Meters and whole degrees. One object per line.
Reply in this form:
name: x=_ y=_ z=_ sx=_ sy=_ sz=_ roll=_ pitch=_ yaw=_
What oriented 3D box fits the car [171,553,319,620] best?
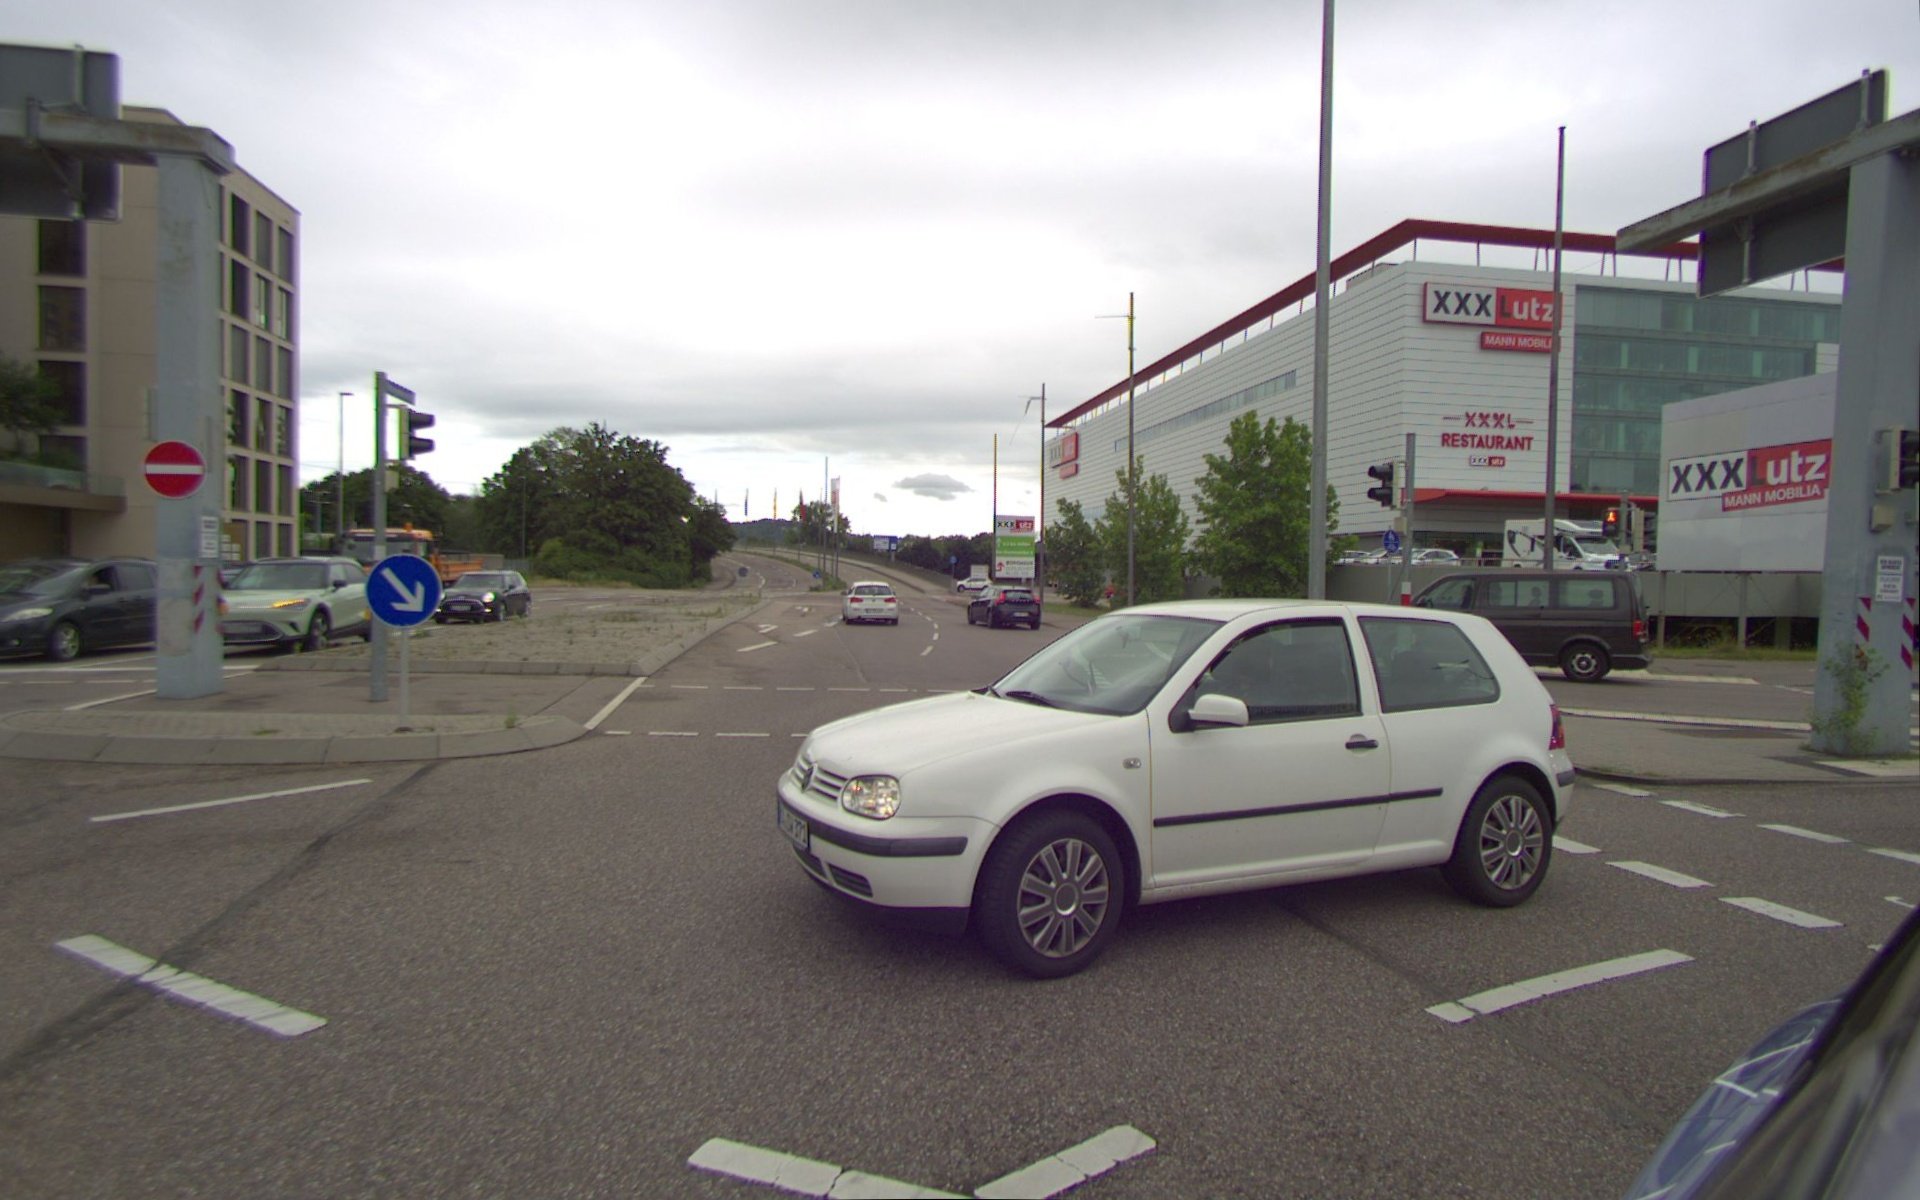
car: x=-20.424 y=-0.371 z=29.127 sx=1.958 sy=1.791 sz=4.157 roll=0 pitch=0 yaw=-11

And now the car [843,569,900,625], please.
car: x=-3.039 y=-0.167 z=34.803 sx=1.798 sy=1.426 sz=4.207 roll=2 pitch=6 yaw=-5

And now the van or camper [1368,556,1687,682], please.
van or camper: x=10.426 y=0.251 z=18.831 sx=4.910 sy=2.039 sz=2.137 roll=2 pitch=1 yaw=35

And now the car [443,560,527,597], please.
car: x=-22.738 y=-1.008 z=48.624 sx=1.963 sy=1.678 sz=4.359 roll=0 pitch=0 yaw=1

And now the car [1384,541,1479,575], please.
car: x=24.635 y=-2.173 z=52.939 sx=4.173 sy=1.697 sz=1.779 roll=0 pitch=0 yaw=-7

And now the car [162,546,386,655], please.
car: x=-11.700 y=-0.002 z=17.606 sx=1.865 sy=1.664 sz=4.076 roll=0 pitch=0 yaw=-13

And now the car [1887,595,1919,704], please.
car: x=14.865 y=0.714 z=12.463 sx=4.800 sy=1.429 sz=1.812 roll=2 pitch=0 yaw=11

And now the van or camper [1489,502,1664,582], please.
van or camper: x=27.153 y=-2.440 z=45.049 sx=2.659 sy=3.175 sz=7.246 roll=0 pitch=0 yaw=-8

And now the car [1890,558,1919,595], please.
car: x=46.798 y=-1.126 z=47.676 sx=1.959 sy=1.761 sz=4.007 roll=0 pitch=0 yaw=-10

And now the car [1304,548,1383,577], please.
car: x=23.527 y=-2.318 z=62.175 sx=4.173 sy=1.697 sz=1.779 roll=0 pitch=0 yaw=-7

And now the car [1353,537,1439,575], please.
car: x=24.308 y=-2.461 z=56.508 sx=3.919 sy=2.039 sz=2.002 roll=0 pitch=0 yaw=-6

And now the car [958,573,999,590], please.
car: x=1.903 y=-1.890 z=103.776 sx=4.115 sy=1.631 sz=1.723 roll=0 pitch=0 yaw=-3

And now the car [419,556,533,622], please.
car: x=-14.040 y=-0.303 z=29.644 sx=1.958 sy=1.791 sz=4.430 roll=0 pitch=0 yaw=-11

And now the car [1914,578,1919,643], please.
car: x=31.063 y=0.327 z=29.736 sx=1.959 sy=2.039 sz=4.006 roll=0 pitch=0 yaw=-9

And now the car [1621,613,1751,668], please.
car: x=28.712 y=1.560 z=40.071 sx=3.917 sy=2.039 sz=2.004 roll=0 pitch=0 yaw=-12

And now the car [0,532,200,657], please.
car: x=-14.728 y=-0.086 z=16.557 sx=1.958 sy=1.791 sz=4.430 roll=0 pitch=0 yaw=-11

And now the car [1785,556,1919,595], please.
car: x=35.747 y=-0.933 z=40.455 sx=1.831 sy=1.455 sz=4.001 roll=0 pitch=0 yaw=-11

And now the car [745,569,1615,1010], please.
car: x=1.073 y=0.626 z=5.072 sx=3.921 sy=1.496 sz=1.842 roll=0 pitch=0 yaw=-24

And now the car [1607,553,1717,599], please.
car: x=31.772 y=-1.041 z=45.928 sx=1.831 sy=1.972 sz=3.875 roll=0 pitch=0 yaw=-11

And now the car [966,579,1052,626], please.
car: x=1.588 y=0.128 z=34.601 sx=1.865 sy=1.468 sz=4.187 roll=1 pitch=-1 yaw=-13

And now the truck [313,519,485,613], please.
truck: x=-17.565 y=-0.980 z=32.231 sx=2.763 sy=2.672 sz=6.685 roll=0 pitch=0 yaw=-10
